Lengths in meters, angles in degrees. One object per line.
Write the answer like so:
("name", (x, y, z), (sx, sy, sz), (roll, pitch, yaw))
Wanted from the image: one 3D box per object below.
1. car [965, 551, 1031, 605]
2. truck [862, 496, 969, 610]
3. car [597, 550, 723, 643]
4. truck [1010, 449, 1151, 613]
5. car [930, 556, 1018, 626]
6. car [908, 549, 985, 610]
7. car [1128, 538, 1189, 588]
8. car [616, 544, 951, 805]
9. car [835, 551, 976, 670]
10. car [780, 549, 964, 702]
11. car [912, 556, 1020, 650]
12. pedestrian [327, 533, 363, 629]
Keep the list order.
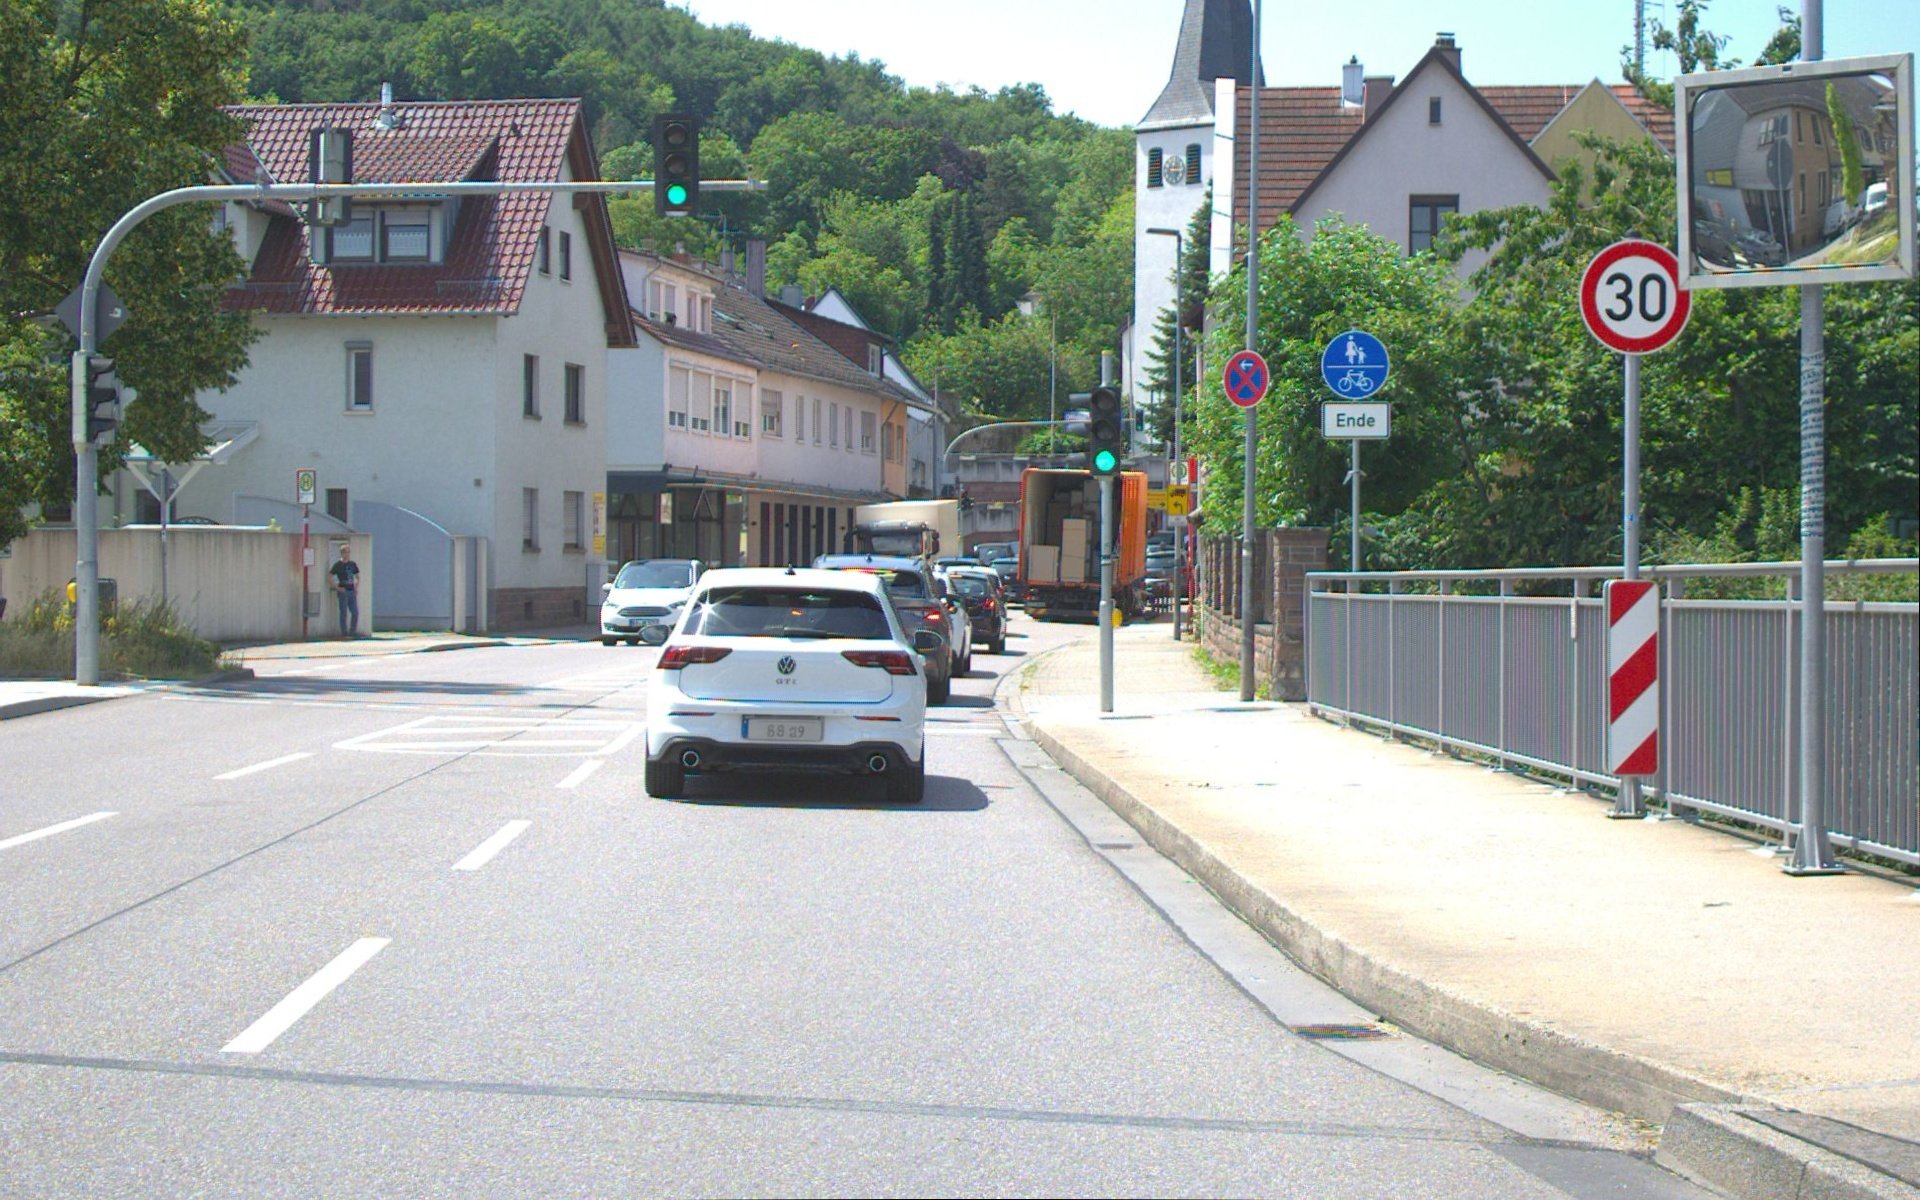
("car", (1.113, -0.622, 99.186), (1.815, 1.514, 4.000), (-1, 0, 2))
("truck", (-1.273, -1.348, 101.524), (2.502, 3.224, 6.039), (-1, 0, 6))
("car", (-5.557, -0.064, 64.096), (1.815, 1.644, 4.000), (2, 0, 2))
("truck", (3.344, -1.774, 92.695), (3.367, 4.156, 9.517), (-1, 0, 4))
("car", (0.336, -0.193, 76.806), (1.815, 1.514, 4.000), (-1, 0, 2))
("car", (-0.333, -0.524, 89.155), (1.815, 1.514, 4.000), (-1, 0, 2))
("car", (6.199, -1.148, 107.907), (1.815, 1.514, 4.000), (-1, 0, 2))
("car", (-1.066, 0.444, 22.638), (1.815, 1.514, 4.000), (2, 0, 2))
("car", (-0.740, 0.147, 49.573), (1.815, 1.623, 4.000), (-1, 0, 2))
("car", (-0.941, 0.273, 38.770), (1.815, 1.623, 4.000), (-1, 0, 2))
("car", (0.143, 0.055, 62.181), (1.815, 1.623, 4.000), (-1, 0, 2))
("pedestrian", (-11.356, -0.350, 63.521), (0.434, 1.758, 0.556), (0, 1, 21))
